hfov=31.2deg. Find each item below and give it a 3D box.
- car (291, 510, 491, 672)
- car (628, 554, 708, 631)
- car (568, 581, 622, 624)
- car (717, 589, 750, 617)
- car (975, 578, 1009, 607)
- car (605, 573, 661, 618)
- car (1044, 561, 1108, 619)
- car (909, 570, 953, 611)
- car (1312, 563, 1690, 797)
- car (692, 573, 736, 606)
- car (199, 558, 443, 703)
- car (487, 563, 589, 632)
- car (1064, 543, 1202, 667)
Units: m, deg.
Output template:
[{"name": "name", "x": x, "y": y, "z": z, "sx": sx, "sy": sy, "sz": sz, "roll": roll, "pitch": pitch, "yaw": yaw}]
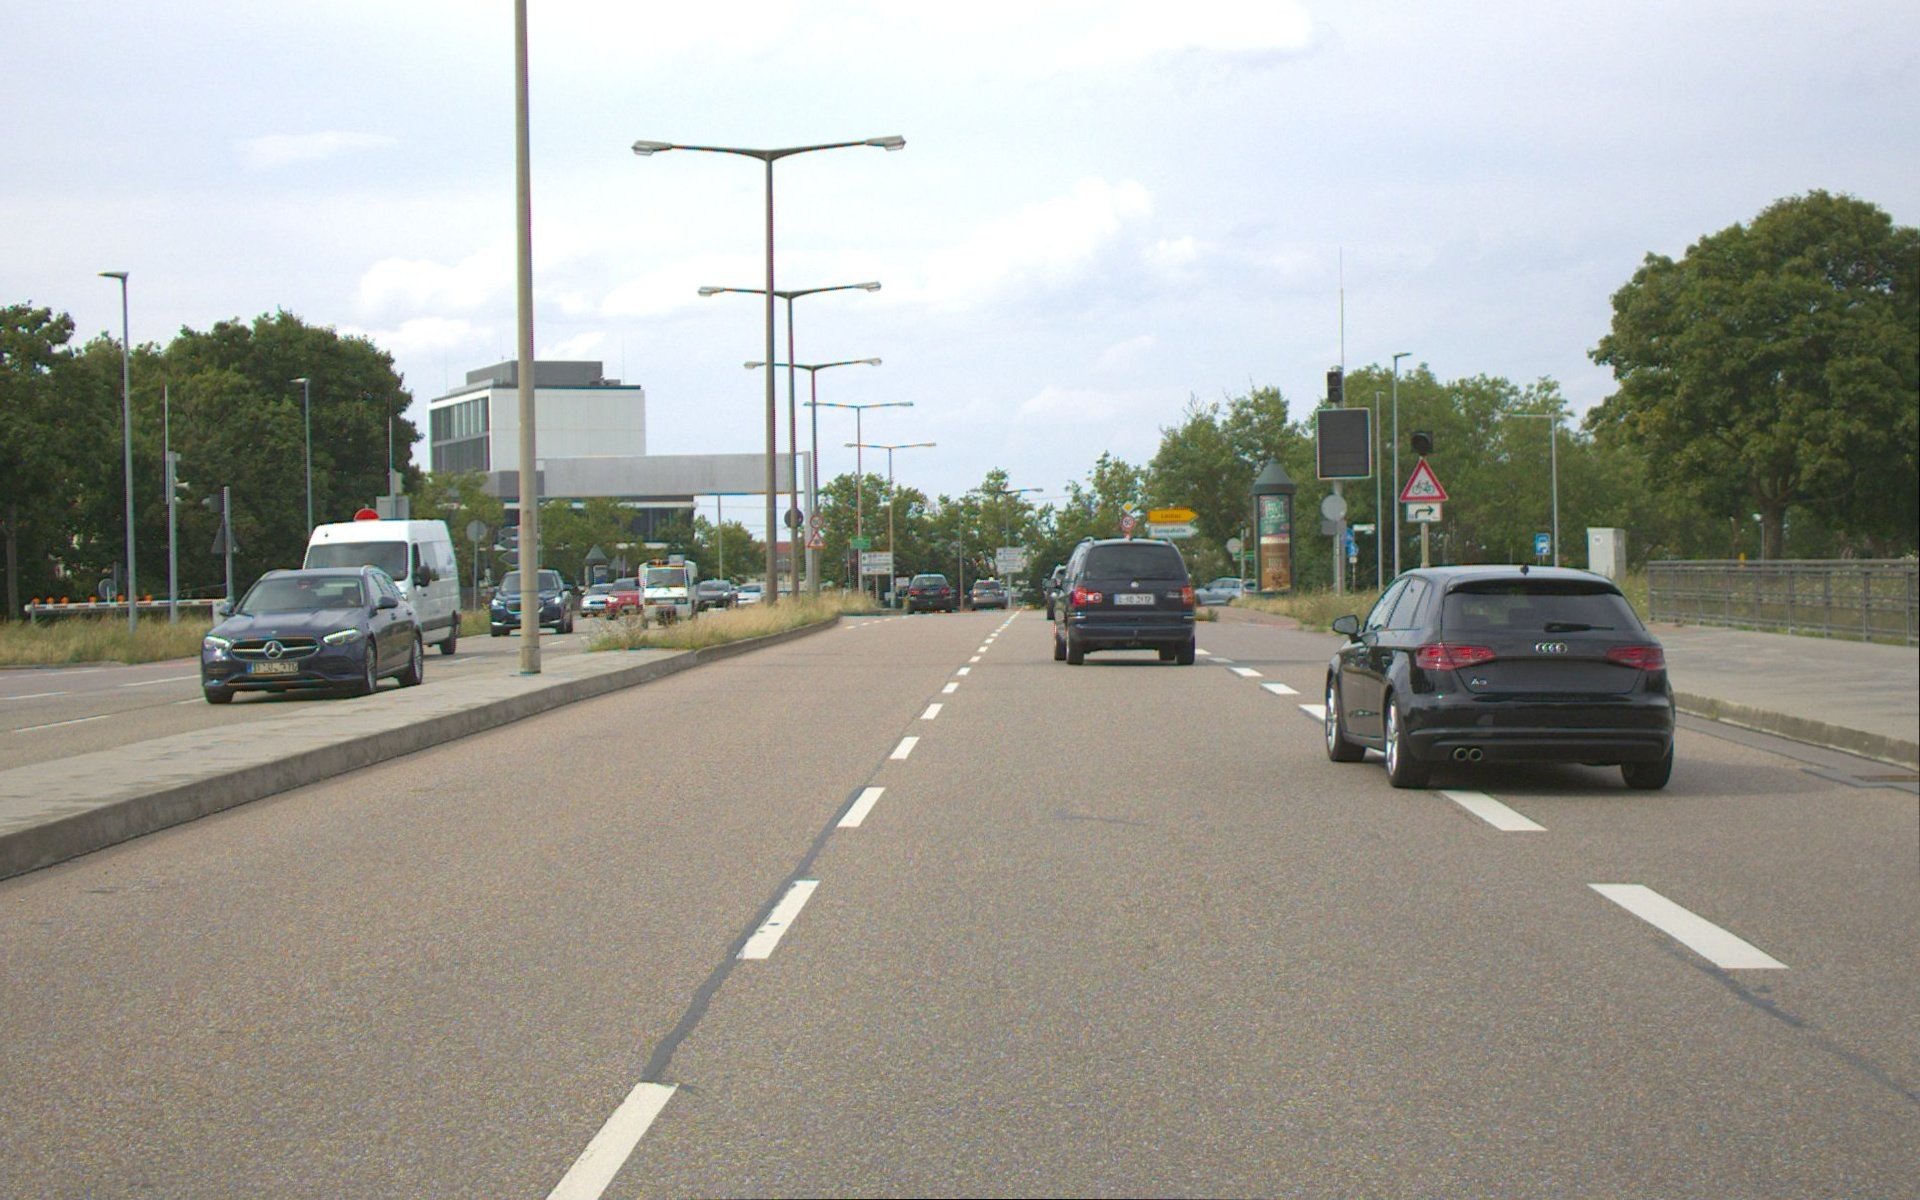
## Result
[{"name": "car", "x": -9.968, "y": -0.212, "z": 60.795, "sx": 2.053, "sy": 2.634, "sz": 6.399, "roll": -2, "pitch": 1, "yaw": 3}, {"name": "car", "x": -7.507, "y": -0.210, "z": 88.692, "sx": 1.540, "sy": 1.864, "sz": 3.570, "roll": -2, "pitch": 1, "yaw": 2}, {"name": "car", "x": -16.082, "y": 0.094, "z": 151.577, "sx": 1.993, "sy": 1.744, "sz": 4.000, "roll": -1, "pitch": 1, "yaw": -1}, {"name": "car", "x": -13.368, "y": 0.167, "z": 203.210, "sx": 1.745, "sy": 1.593, "sz": 4.565, "roll": -2, "pitch": 0, "yaw": -2}, {"name": "car", "x": 1.681, "y": -0.393, "z": 179.274, "sx": 1.730, "sy": 1.521, "sz": 4.115, "roll": 0, "pitch": 0, "yaw": 0}, {"name": "car", "x": -12.258, "y": -0.185, "z": 129.157, "sx": 1.651, "sy": 1.569, "sz": 4.338, "roll": -3, "pitch": 0, "yaw": -1}, {"name": "car", "x": 3.381, "y": -0.301, "z": 100.818, "sx": 1.730, "sy": 1.647, "sz": 4.115, "roll": 0, "pitch": 0, "yaw": 0}, {"name": "car", "x": -1.179, "y": -0.390, "z": 140.944, "sx": 1.730, "sy": 1.647, "sz": 4.115, "roll": 0, "pitch": 0, "yaw": 0}, {"name": "car", "x": 3.465, "y": 0.472, "z": 22.731, "sx": 1.730, "sy": 1.390, "sz": 4.115, "roll": 0, "pitch": 0, "yaw": -2}, {"name": "car", "x": -11.566, "y": -0.498, "z": 161.906, "sx": 1.745, "sy": 1.470, "sz": 4.565, "roll": -2, "pitch": 0, "yaw": -1}, {"name": "car", "x": -7.155, "y": 0.329, "z": 38.951, "sx": 1.738, "sy": 1.475, "sz": 4.776, "roll": -2, "pitch": 0, "yaw": 1}, {"name": "car", "x": -10.482, "y": -0.093, "z": 85.633, "sx": 1.747, "sy": 1.580, "sz": 4.586, "roll": -2, "pitch": 1, "yaw": 2}, {"name": "car", "x": 2.365, "y": 0.055, "z": 47.923, "sx": 1.730, "sy": 1.647, "sz": 4.115, "roll": 0, "pitch": 0, "yaw": 0}]
